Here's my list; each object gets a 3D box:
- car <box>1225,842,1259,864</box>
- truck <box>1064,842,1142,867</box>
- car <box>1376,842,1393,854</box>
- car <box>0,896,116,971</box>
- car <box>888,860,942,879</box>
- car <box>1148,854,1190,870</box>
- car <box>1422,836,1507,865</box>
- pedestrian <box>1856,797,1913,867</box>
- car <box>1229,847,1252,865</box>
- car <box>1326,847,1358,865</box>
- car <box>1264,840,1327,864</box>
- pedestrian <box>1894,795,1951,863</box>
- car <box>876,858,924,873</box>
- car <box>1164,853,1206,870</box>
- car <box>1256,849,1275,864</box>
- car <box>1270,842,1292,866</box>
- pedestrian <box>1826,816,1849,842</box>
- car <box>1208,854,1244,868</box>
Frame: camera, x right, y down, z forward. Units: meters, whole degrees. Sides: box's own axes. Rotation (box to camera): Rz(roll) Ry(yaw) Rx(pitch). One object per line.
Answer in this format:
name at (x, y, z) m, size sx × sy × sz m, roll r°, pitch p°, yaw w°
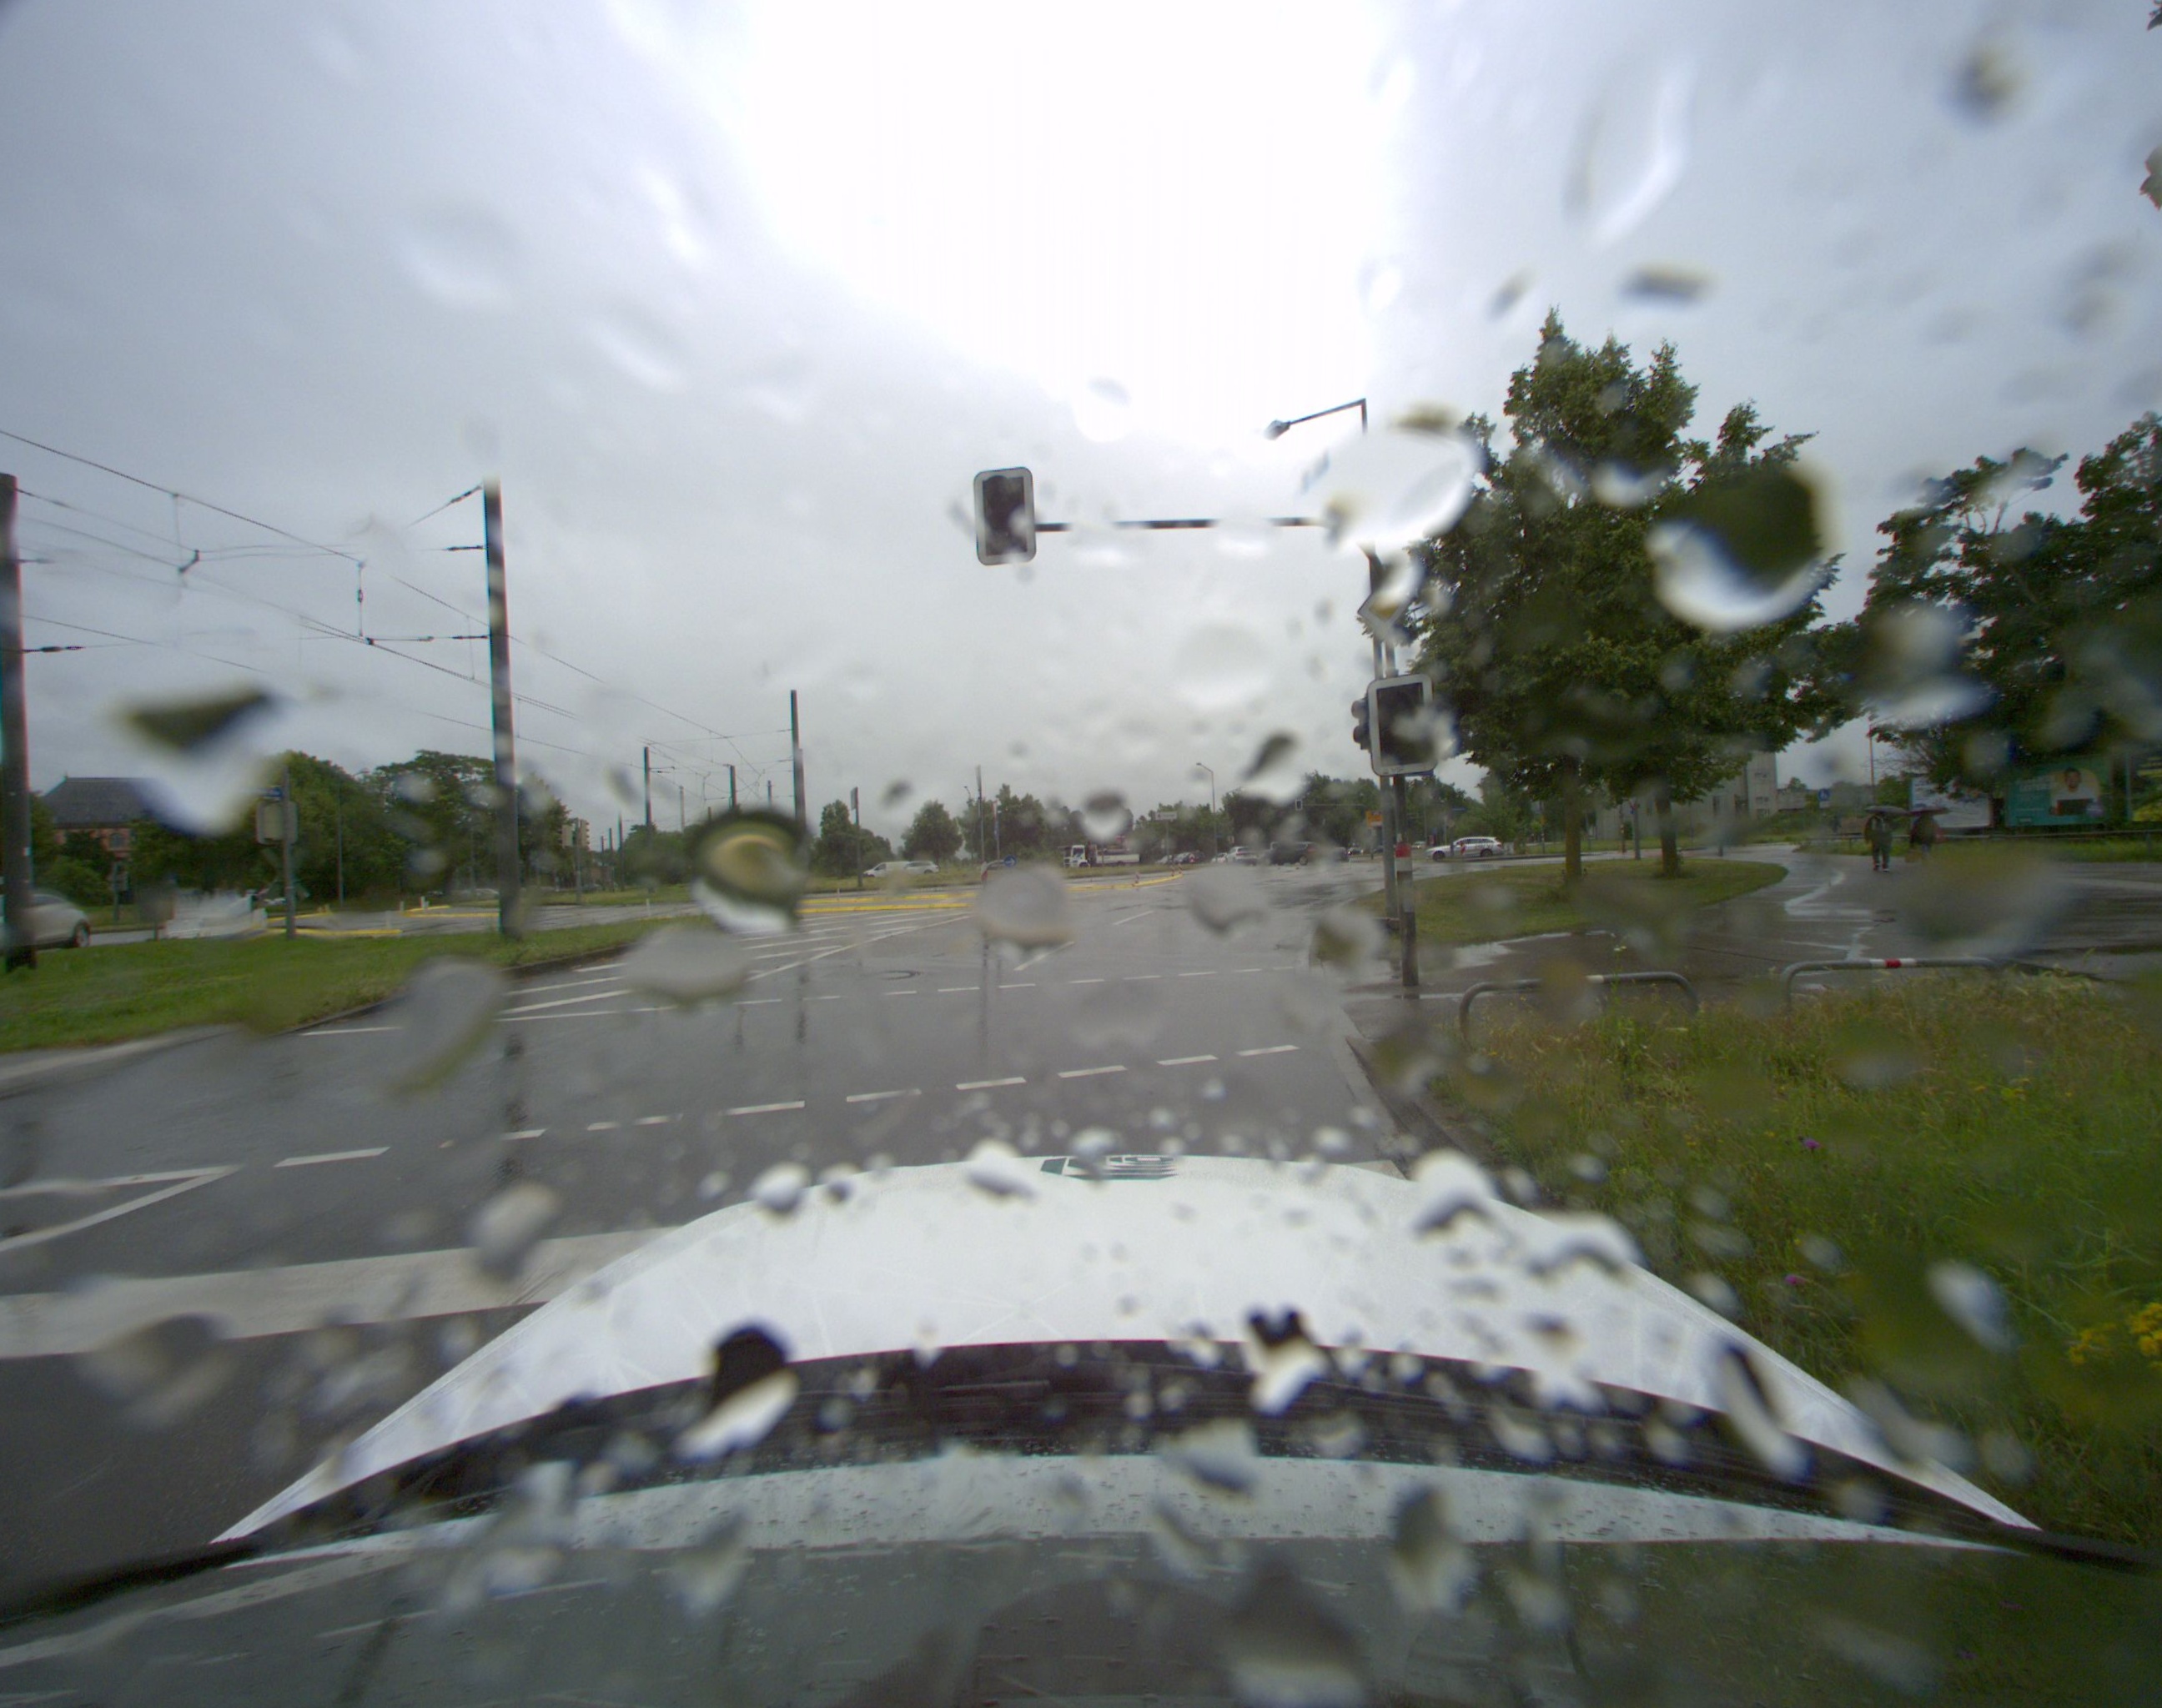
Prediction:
car at (12.753, -0.062, 64.850) m, size 1.677 × 1.648 × 3.941 m, roll 0°, pitch -1°, yaw -4°
truck at (2.473, 0.053, 90.636) m, size 8.814 × 2.711 × 1.983 m, roll 0°, pitch -1°, yaw -26°
car at (53.316, -1.088, 142.926) m, size 1.771 × 2.014 × 3.697 m, roll -1°, pitch -1°, yaw 39°
car at (-25.290, 1.823, 19.151) m, size 1.856 × 1.486 × 4.188 m, roll 0°, pitch -1°, yaw -28°
car at (-15.627, 1.419, 76.675) m, size 4.857 × 1.744 × 1.769 m, roll 0°, pitch -1°, yaw -14°
car at (9.906, 0.922, 91.425) m, size 4.889 × 1.744 × 1.758 m, roll 0°, pitch -1°, yaw -38°
car at (24.709, -0.193, 52.604) m, size 4.782 × 1.811 × 1.797 m, roll -1°, pitch -1°, yaw 18°
pedestrian at (21.332, -0.563, 21.618) m, size 0.811 × 1.784 × 0.914 m, roll 0°, pitch -1°, yaw -33°
car at (14.164, 0.188, 72.219) m, size 1.676 × 1.492 × 3.264 m, roll -1°, pitch -1°, yaw 16°
car at (24.189, 0.198, 75.458) m, size 1.672 × 1.492 × 3.272 m, roll -3°, pitch 0°, yaw 38°
car at (15.235, -0.136, 57.947) m, size 3.948 × 1.648 × 1.800 m, roll -1°, pitch -1°, yaw 38°
pedestrian at (22.649, -0.653, 21.931) m, size 0.811 × 1.784 × 0.914 m, roll 0°, pitch -1°, yaw -33°
car at (-17.874, 1.149, 80.659) m, size 4.536 × 1.492 × 1.605 m, roll 0°, pitch -1°, yaw -11°
car at (11.195, 0.773, 87.435) m, size 4.894 × 1.744 × 1.756 m, roll 0°, pitch -1°, yaw -45°
car at (18.569, 0.233, 81.820) m, size 1.675 × 1.492 × 3.265 m, roll -1°, pitch -1°, yaw 17°
car at (17.580, -0.008, 71.791) m, size 1.771 × 2.036 × 4.014 m, roll -1°, pitch -1°, yaw 12°
pedestrian at (53.240, -1.769, 57.322) m, size 0.947 × 1.772 × 0.715 m, roll -1°, pitch -1°, yaw 11°
car at (18.333, 0.846, 102.920) m, size 4.892 × 1.744 × 1.756 m, roll 0°, pitch -1°, yaw -42°
